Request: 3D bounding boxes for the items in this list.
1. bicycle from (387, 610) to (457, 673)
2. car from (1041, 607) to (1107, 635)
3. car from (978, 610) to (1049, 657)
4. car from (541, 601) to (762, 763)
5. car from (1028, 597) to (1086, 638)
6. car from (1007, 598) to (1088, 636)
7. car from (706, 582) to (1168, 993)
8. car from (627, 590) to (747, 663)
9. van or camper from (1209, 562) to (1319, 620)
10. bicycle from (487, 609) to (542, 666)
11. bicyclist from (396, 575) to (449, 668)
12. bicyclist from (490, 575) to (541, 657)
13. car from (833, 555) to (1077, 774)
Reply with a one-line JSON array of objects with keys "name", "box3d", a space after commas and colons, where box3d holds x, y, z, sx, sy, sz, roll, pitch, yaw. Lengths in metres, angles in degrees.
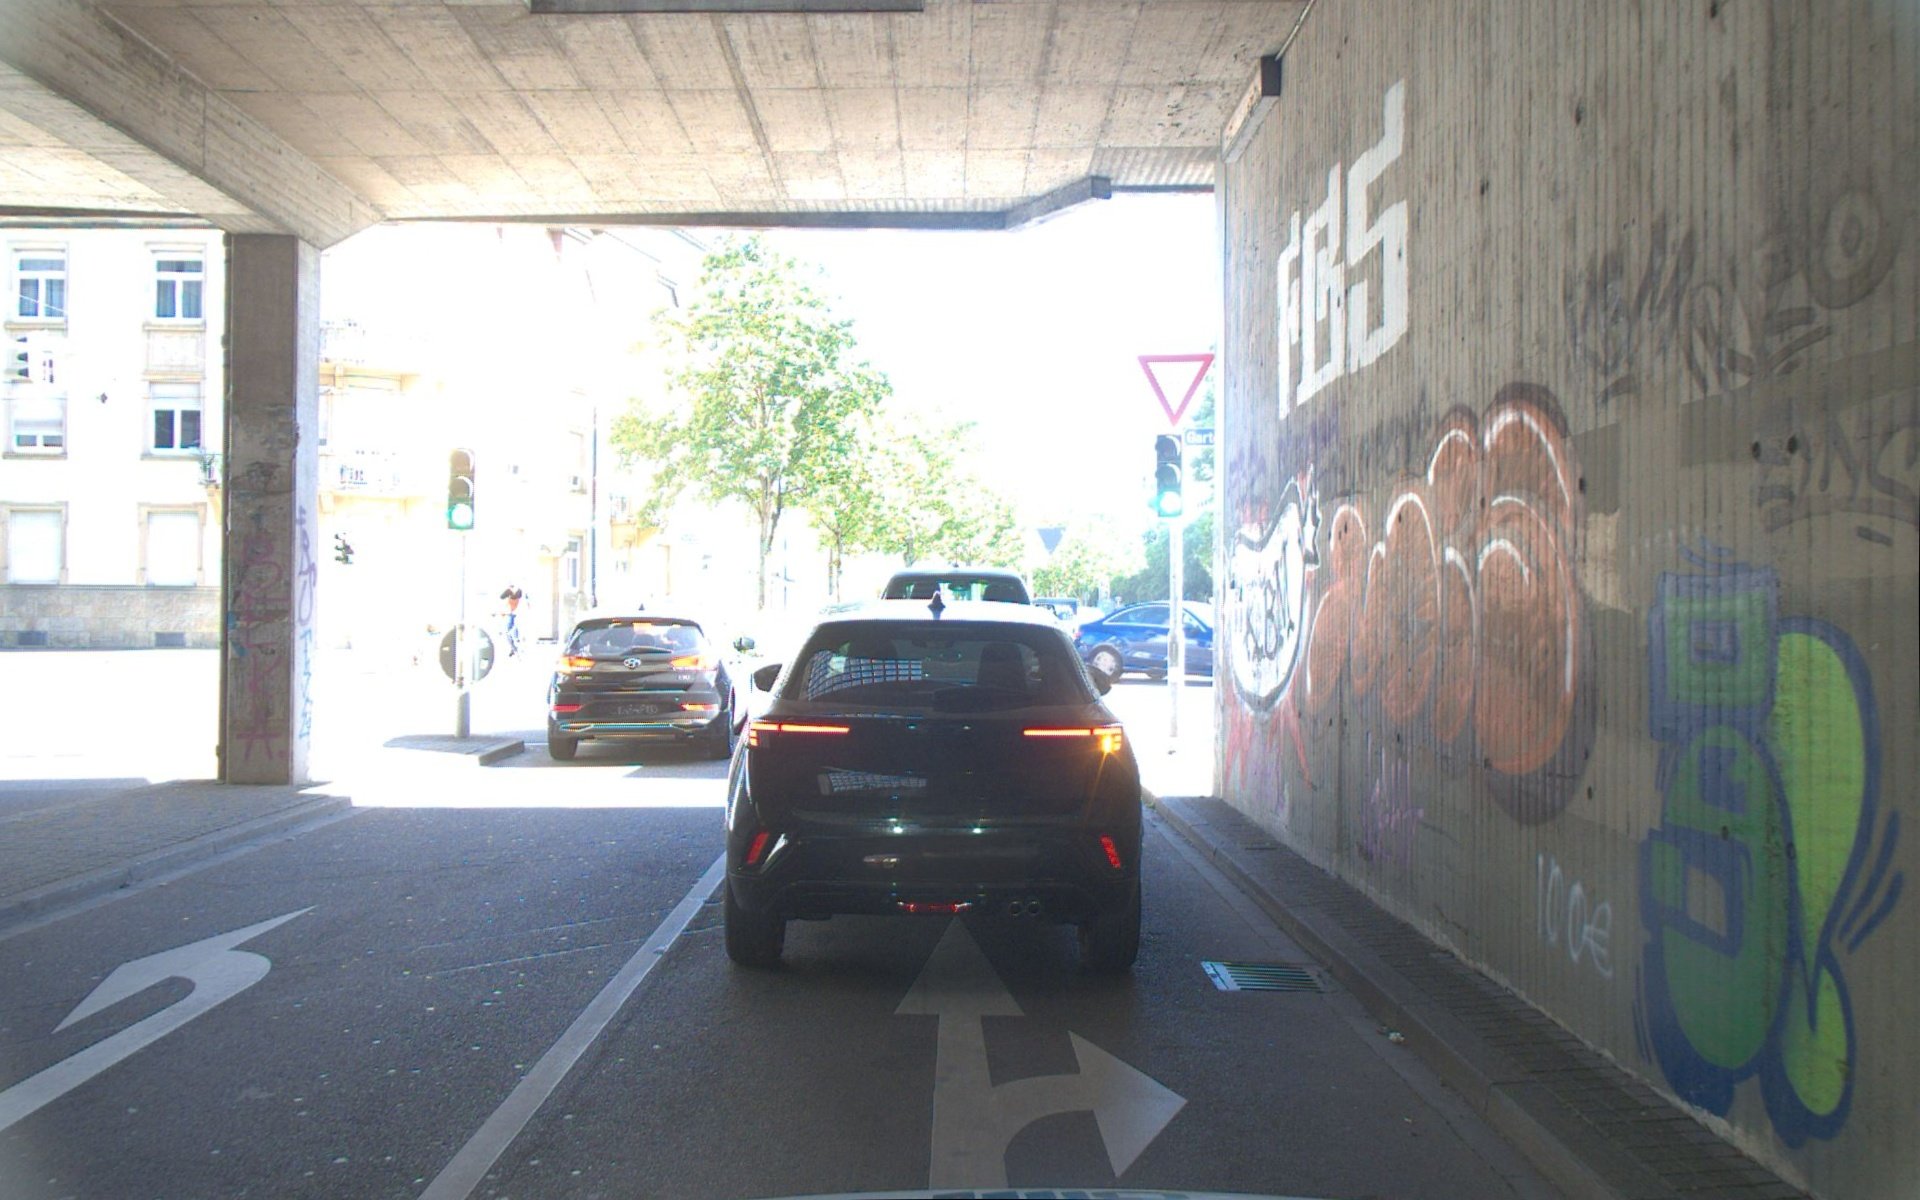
[{"name": "bicycle", "box3d": [-9.763, 0.736, 30.071, 0.514, 1.109, 1.861, 0, 0, 5]}, {"name": "car", "box3d": [8.999, 1.660, 130.652, 4.820, 2.120, 1.970, 0, -1, -24]}, {"name": "car", "box3d": [1.816, 1.094, 54.871, 1.671, 1.478, 3.854, 0, 0, 12]}, {"name": "car", "box3d": [-3.105, 0.754, 17.433, 1.765, 1.476, 4.323, 0, 0, -4]}, {"name": "car", "box3d": [3.847, 0.685, 65.014, 1.668, 1.539, 3.866, -2, -1, 12]}, {"name": "car", "box3d": [5.986, 1.147, 113.106, 5.173, 2.590, 1.978, 0, -1, -15]}, {"name": "car", "box3d": [-0.078, 0.721, 8.207, 1.745, 1.544, 3.755, 1, 0, 0]}, {"name": "car", "box3d": [-5.738, 0.528, 35.137, 1.622, 1.466, 3.466, 0, 0, 7]}, {"name": "van or camper", "box3d": [17.135, -0.498, 93.408, 5.949, 2.980, 2.577, -2, -1, 10]}, {"name": "bicycle", "box3d": [-9.311, 0.763, 34.613, 0.530, 1.142, 2.059, 0, 0, 2]}, {"name": "bicyclist", "box3d": [-9.761, 0.390, 30.055, 0.593, 1.661, 0.910, 0, 0, 5]}, {"name": "bicyclist", "box3d": [-9.316, 0.326, 34.701, 0.766, 1.689, 1.031, 0, 0, 2]}, {"name": "car", "box3d": [-0.029, 0.558, 16.624, 2.089, 1.868, 4.940, 0, 0, 0]}]
